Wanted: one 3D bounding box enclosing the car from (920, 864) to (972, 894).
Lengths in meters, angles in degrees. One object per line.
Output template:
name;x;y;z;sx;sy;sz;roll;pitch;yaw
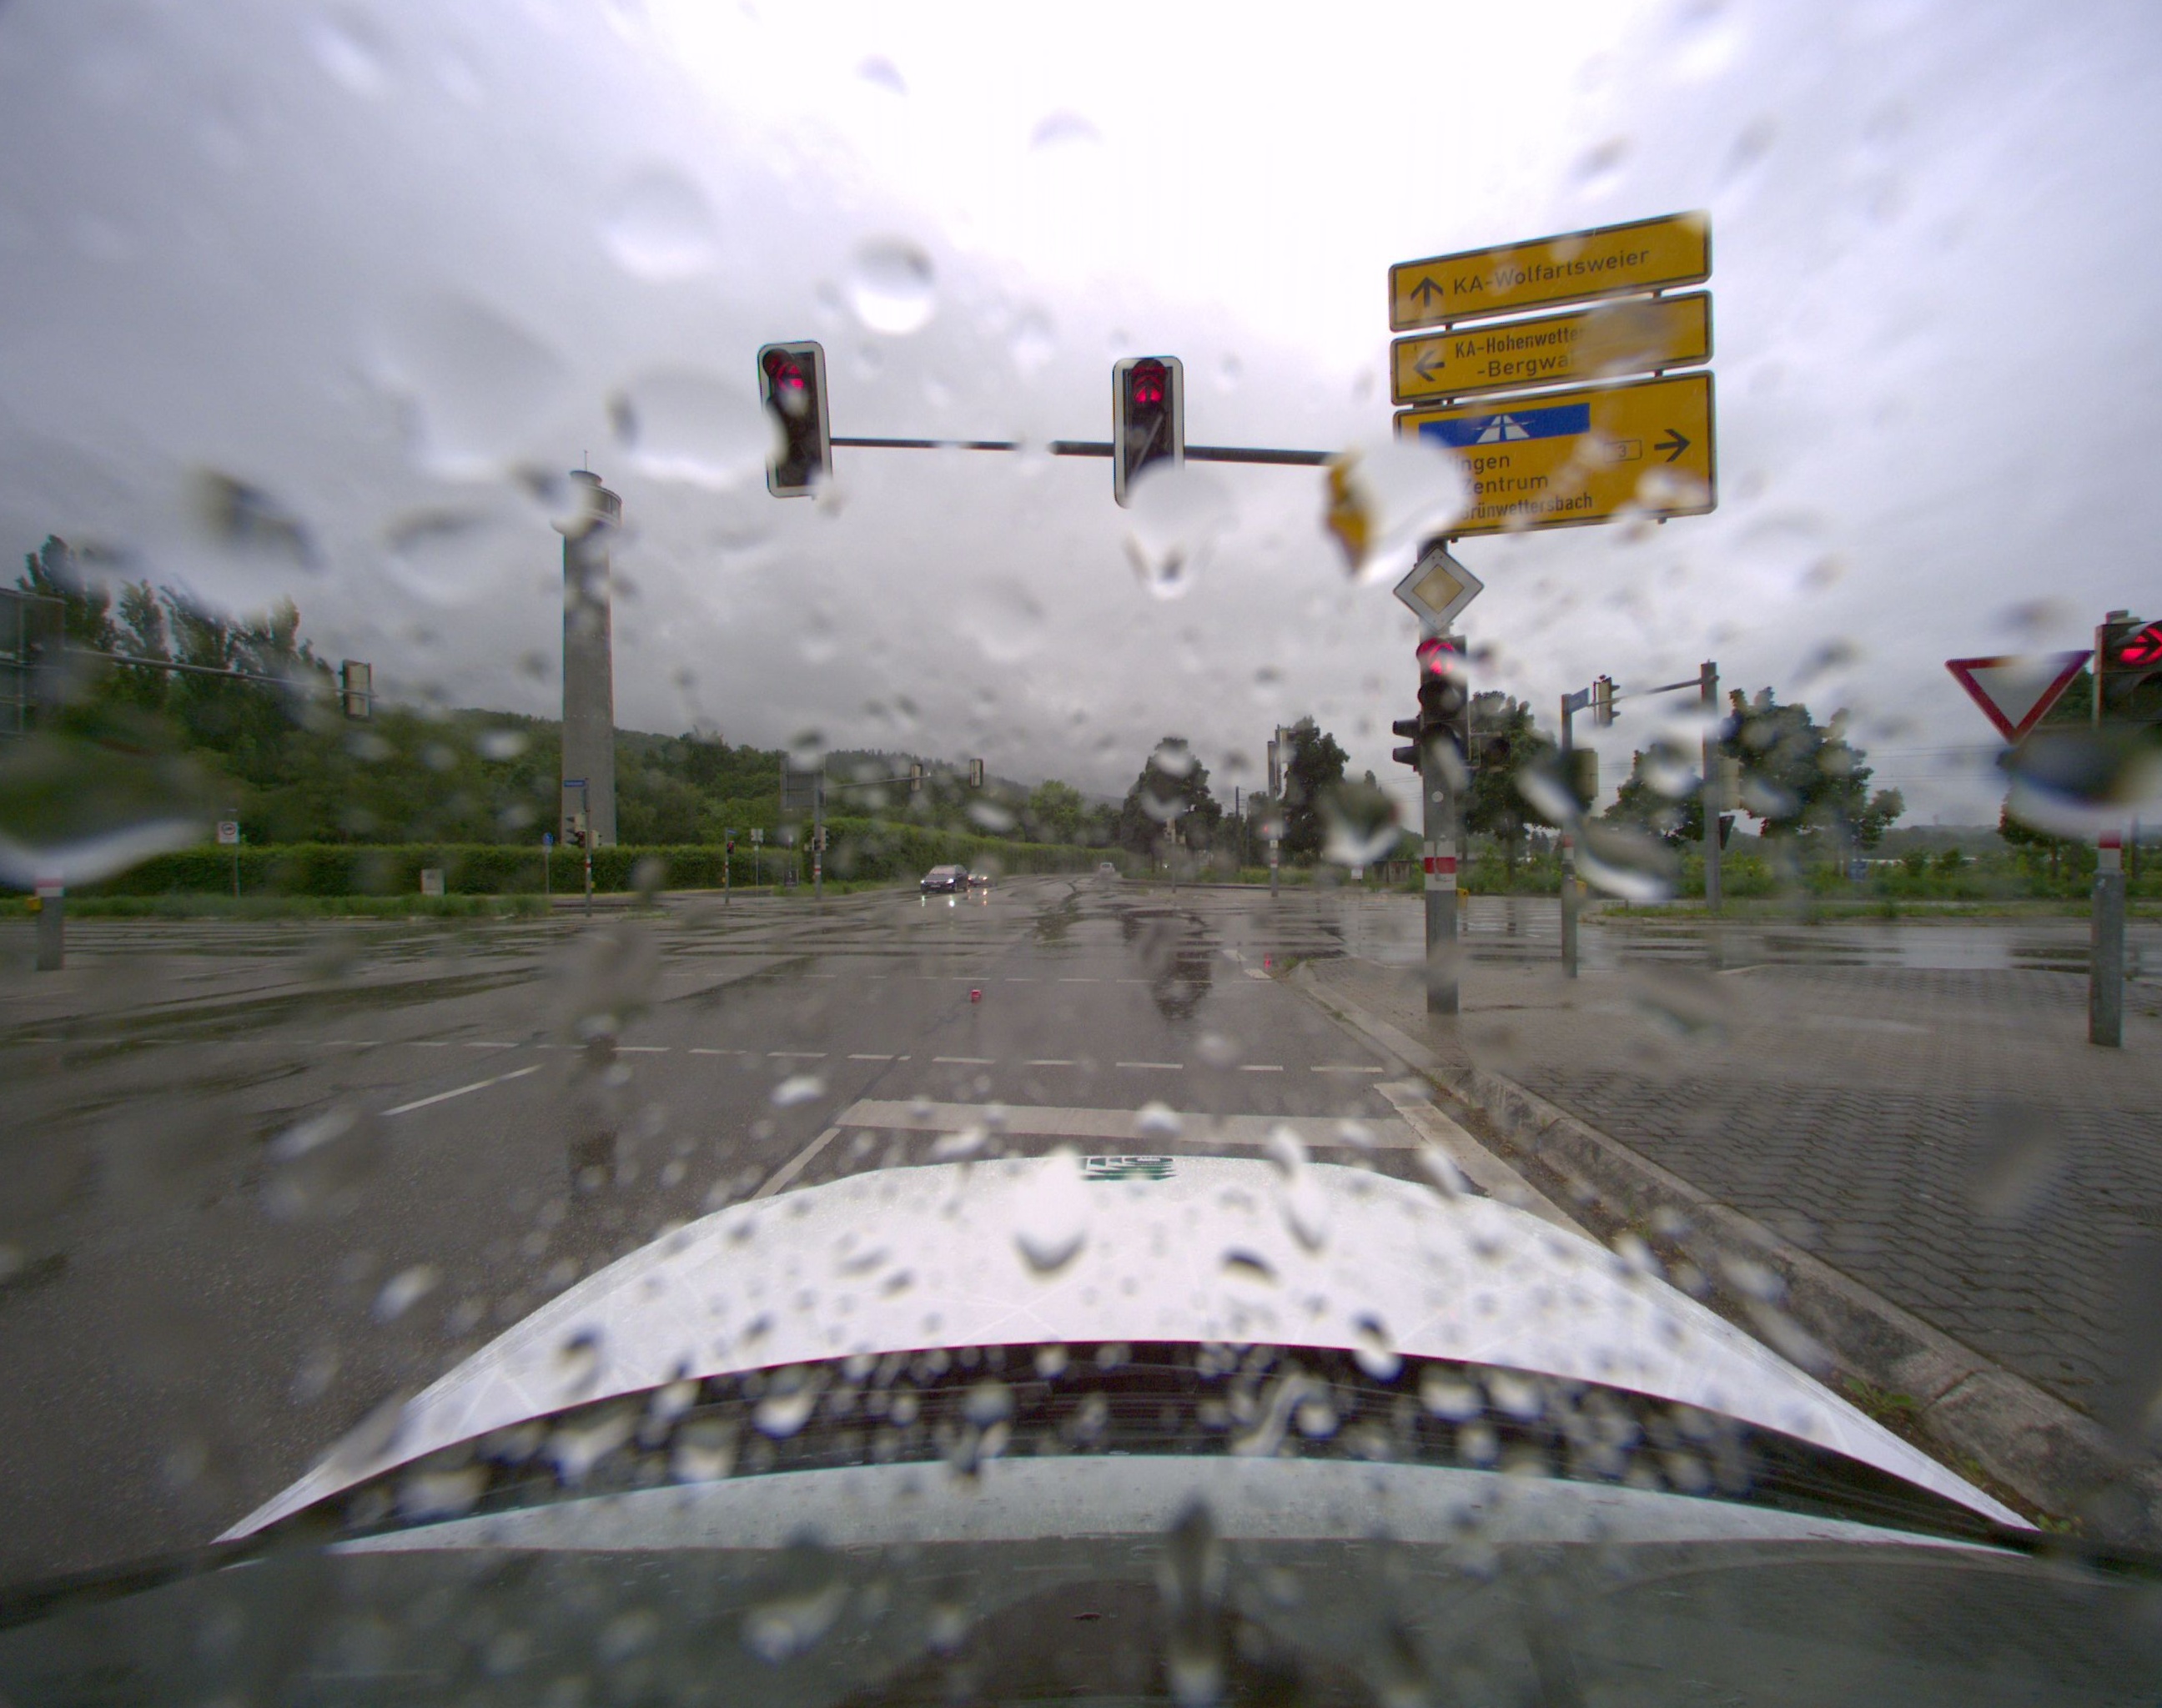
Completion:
car;-7.173;1.318;43.749;1.701;1.466;4.458;-1;0;5

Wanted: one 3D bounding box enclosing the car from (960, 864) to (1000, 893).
car;-6.662;1.600;54.198;2.029;1.708;4.067;-1;0;2

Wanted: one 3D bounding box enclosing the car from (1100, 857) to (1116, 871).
car;3.879;1.446;117.796;1.943;1.904;4.127;-1;0;6
